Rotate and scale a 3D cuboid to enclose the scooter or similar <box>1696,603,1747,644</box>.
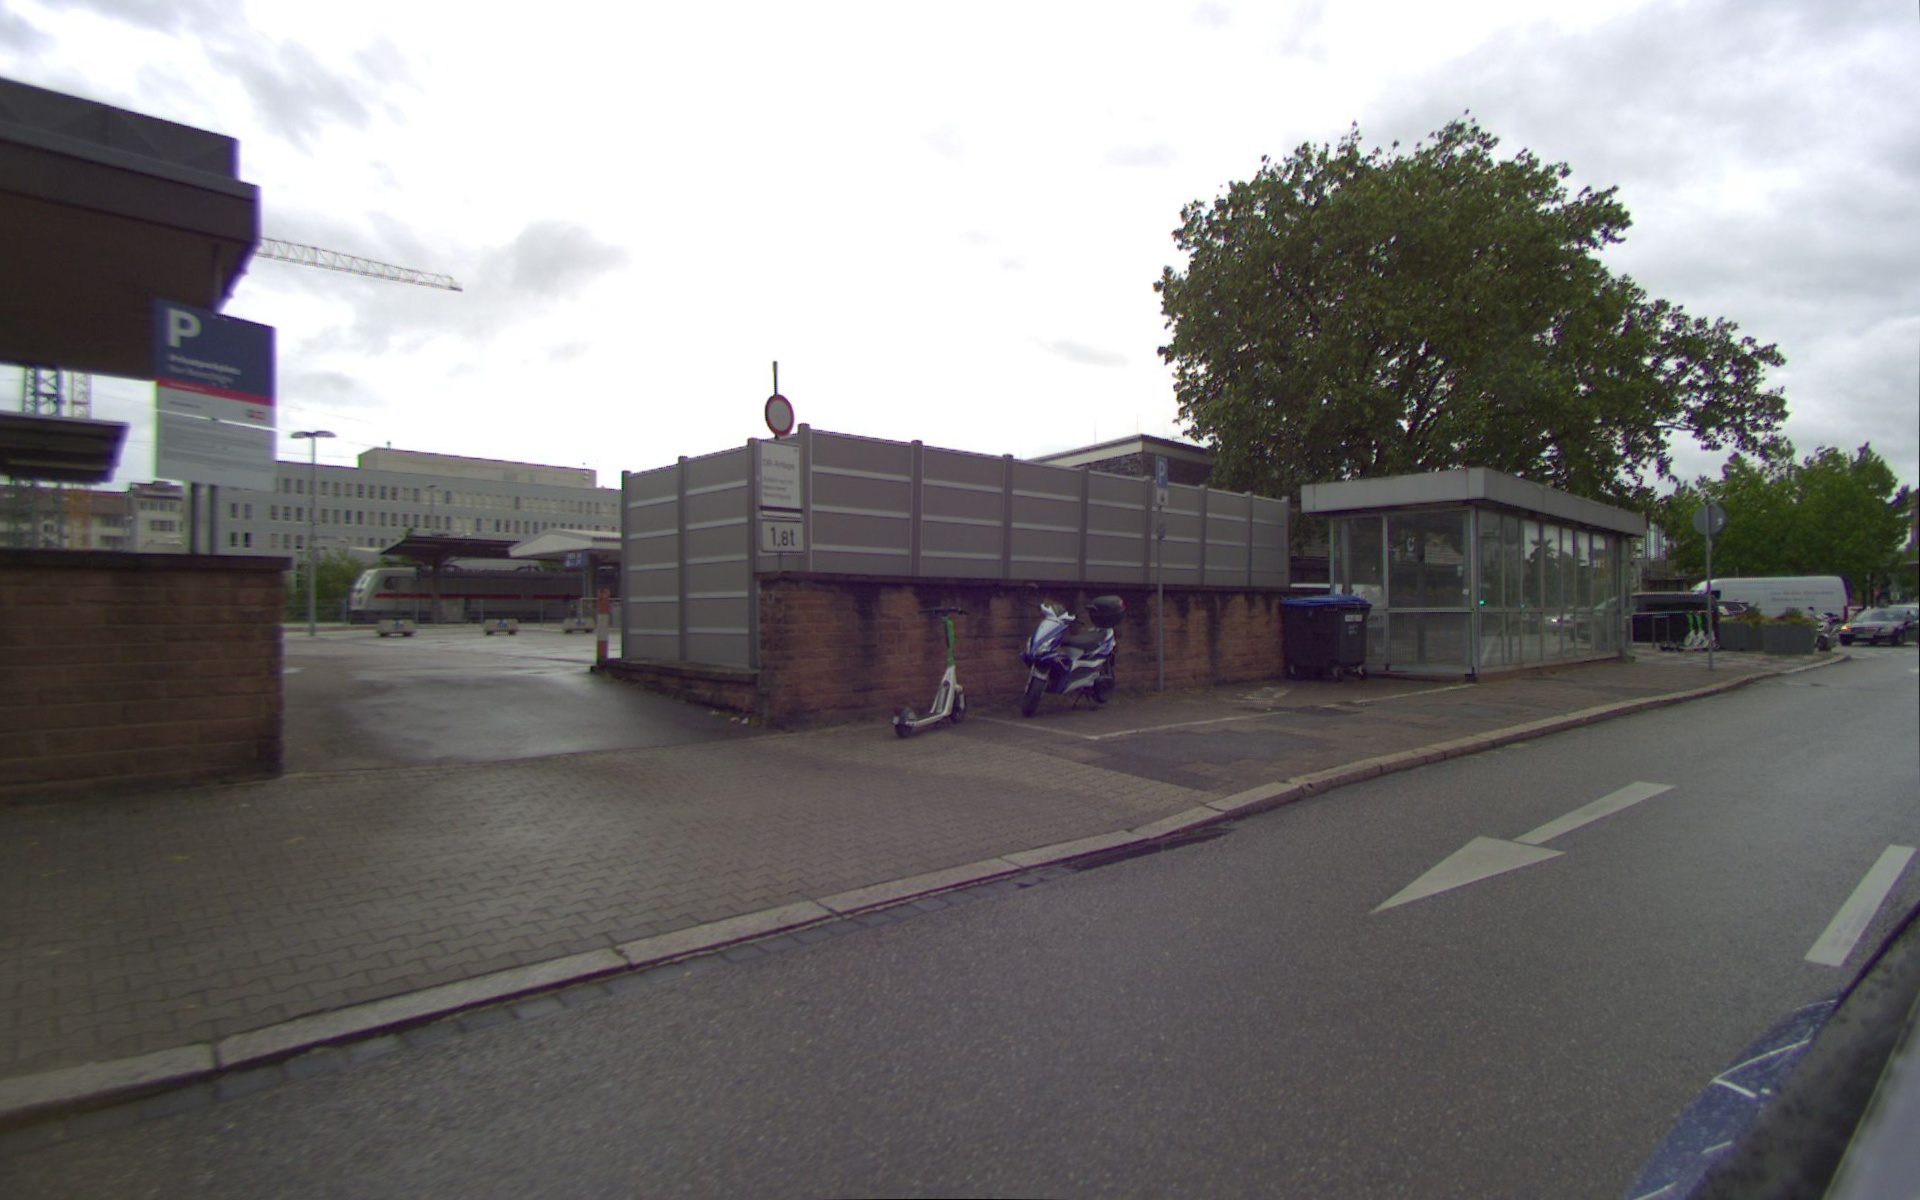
[{"bbox_3d":[22.086,0.686,29.351,1.237,1.170,0.415,-1,-2,-10],"label":"scooter or similar"}]

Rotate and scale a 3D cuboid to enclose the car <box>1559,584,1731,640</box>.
[{"bbox_3d":[24.416,0.394,36.258,4.635,1.898,2.098,1,0,17],"label":"car"}]

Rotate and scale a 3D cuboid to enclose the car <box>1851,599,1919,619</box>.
[{"bbox_3d":[71.665,0.666,78.411,1.789,1.510,4.153,1,0,5],"label":"car"}]

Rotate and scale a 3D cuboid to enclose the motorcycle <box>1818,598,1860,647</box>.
[{"bbox_3d":[25.491,0.632,29.336,2.072,1.369,0.644,0,0,-41],"label":"motorcycle"}]

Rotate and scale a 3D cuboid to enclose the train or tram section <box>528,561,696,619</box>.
[{"bbox_3d":[-23.304,-0.679,68.479,2.740,3.648,10.755,0,0,44],"label":"train or tram section"}]

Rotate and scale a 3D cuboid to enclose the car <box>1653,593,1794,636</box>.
[{"bbox_3d":[31.150,0.577,41.428,4.183,1.655,1.872,1,0,20],"label":"car"}]

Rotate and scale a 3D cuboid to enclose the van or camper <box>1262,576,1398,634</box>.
[{"bbox_3d":[13.540,0.135,37.219,1.987,2.015,4.282,0,1,-44],"label":"van or camper"}]

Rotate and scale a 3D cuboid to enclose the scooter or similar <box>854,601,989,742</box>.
[{"bbox_3d":[-0.321,0.610,9.490,0.490,1.167,1.699,0,1,28],"label":"scooter or similar"}]

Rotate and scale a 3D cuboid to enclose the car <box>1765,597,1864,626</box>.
[{"bbox_3d":[45.018,0.586,53.403,3.574,1.417,1.768,1,0,20],"label":"car"}]

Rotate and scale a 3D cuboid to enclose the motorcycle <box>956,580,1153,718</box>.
[{"bbox_3d":[1.098,0.475,11.136,2.417,1.365,0.792,0,0,-44],"label":"motorcycle"}]

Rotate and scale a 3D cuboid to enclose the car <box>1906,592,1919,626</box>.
[{"bbox_3d":[50.366,0.475,52.162,4.338,1.704,1.823,0,0,-40],"label":"car"}]

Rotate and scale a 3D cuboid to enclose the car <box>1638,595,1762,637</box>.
[{"bbox_3d":[28.861,0.592,39.601,3.549,1.543,1.749,1,0,23],"label":"car"}]

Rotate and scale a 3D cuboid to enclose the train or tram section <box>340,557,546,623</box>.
[{"bbox_3d":[-30.806,-0.611,60.859,2.741,3.648,10.753,0,0,45],"label":"train or tram section"}]

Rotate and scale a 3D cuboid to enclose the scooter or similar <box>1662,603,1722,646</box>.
[{"bbox_3d":[21.288,0.702,29.440,1.638,1.170,1.066,-1,0,-41],"label":"scooter or similar"}]

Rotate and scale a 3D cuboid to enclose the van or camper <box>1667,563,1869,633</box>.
[{"bbox_3d":[34.994,-0.140,44.098,6.445,2.905,2.266,1,0,19],"label":"van or camper"}]

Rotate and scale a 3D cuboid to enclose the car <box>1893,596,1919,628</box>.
[{"bbox_3d":[46.156,0.575,48.538,3.525,1.493,1.660,0,0,-41],"label":"car"}]

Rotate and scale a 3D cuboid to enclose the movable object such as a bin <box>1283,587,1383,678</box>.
[{"bbox_3d":[5.898,0.481,15.992,1.295,1.355,1.035,0,0,-44],"label":"movable object such as a bin"}]

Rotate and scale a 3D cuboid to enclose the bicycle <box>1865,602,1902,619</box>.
[{"bbox_3d":[57.746,0.670,63.277,1.690,1.059,0.524,0,0,6],"label":"bicycle"}]

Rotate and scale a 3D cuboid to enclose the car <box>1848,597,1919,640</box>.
[{"bbox_3d":[34.356,0.638,37.297,3.757,1.493,1.871,0,0,-40],"label":"car"}]

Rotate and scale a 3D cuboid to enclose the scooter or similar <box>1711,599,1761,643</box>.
[{"bbox_3d":[22.166,0.607,28.913,1.237,1.170,0.415,3,-3,-10],"label":"scooter or similar"}]
